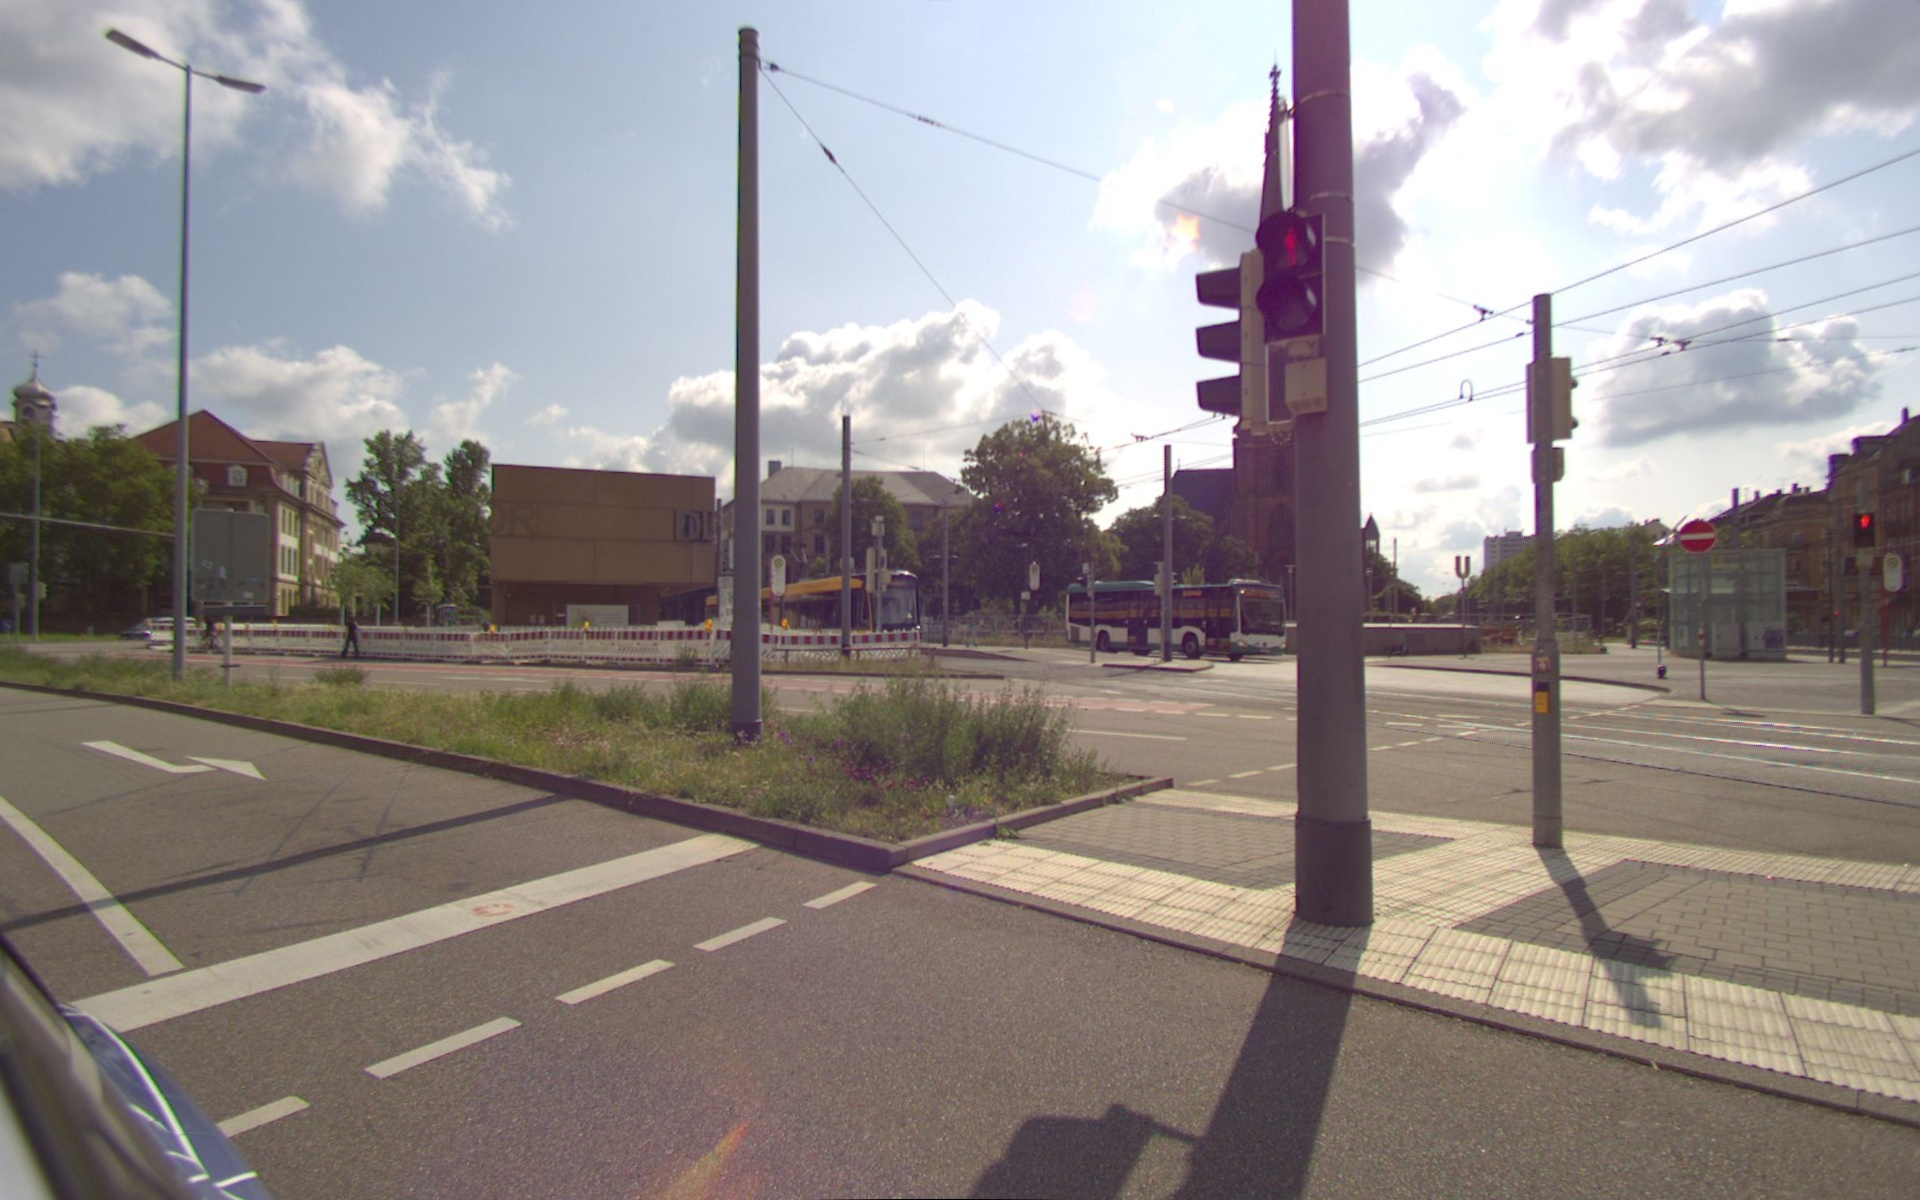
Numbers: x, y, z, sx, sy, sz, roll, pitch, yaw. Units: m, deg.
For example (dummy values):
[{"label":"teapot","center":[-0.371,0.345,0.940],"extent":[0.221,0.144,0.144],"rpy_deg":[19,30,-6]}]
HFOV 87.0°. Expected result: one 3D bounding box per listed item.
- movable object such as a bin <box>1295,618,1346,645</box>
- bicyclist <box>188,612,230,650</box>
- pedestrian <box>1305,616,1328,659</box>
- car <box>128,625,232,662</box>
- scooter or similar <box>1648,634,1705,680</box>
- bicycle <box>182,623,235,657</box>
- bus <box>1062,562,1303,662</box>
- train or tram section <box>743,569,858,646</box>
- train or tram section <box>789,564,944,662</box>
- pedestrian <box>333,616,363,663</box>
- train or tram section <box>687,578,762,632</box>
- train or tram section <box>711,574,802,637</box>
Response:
[{"label":"movable object such as a bin","center":[39.601,3.468,111.293],"extent":[5.109,2.934,1.989],"rpy_deg":[0,-2,17]},{"label":"bicyclist","center":[-31.939,1.309,43.036],"extent":[1.768,1.575,0.770],"rpy_deg":[-1,-2,29]},{"label":"pedestrian","center":[15.184,1.575,43.076],"extent":[0.708,1.808,0.564],"rpy_deg":[1,-2,-24]},{"label":"car","center":[-39.707,2.197,51.641],"extent":[3.932,1.796,2.006],"rpy_deg":[1,-2,-31]},{"label":"scooter or similar","center":[18.678,1.476,26.405],"extent":[0.805,1.175,1.163],"rpy_deg":[0,-2,13]},{"label":"bicycle","center":[-31.894,1.685,42.965],"extent":[2.284,1.421,0.963],"rpy_deg":[-1,-2,30]},{"label":"bus","center":[8.829,0.625,42.881],"extent":[2.865,3.648,12.417],"rpy_deg":[1,-2,-26]},{"label":"train or tram section","center":[-8.398,0.304,51.763],"extent":[3.266,3.507,10.643],"rpy_deg":[-1,0,-23]},{"label":"train or tram section","center":[-4.195,0.446,41.999],"extent":[3.266,3.507,10.643],"rpy_deg":[-1,0,-23]},{"label":"pedestrian","center":[-23.490,1.509,38.852],"extent":[1.000,1.777,0.645],"rpy_deg":[-1,-2,38]},{"label":"train or tram section","center":[-16.754,0.287,71.317],"extent":[3.266,3.507,10.643],"rpy_deg":[-1,0,-23]},{"label":"train or tram section","center":[-12.577,0.296,61.540],"extent":[3.266,3.507,10.643],"rpy_deg":[-1,0,-23]}]
